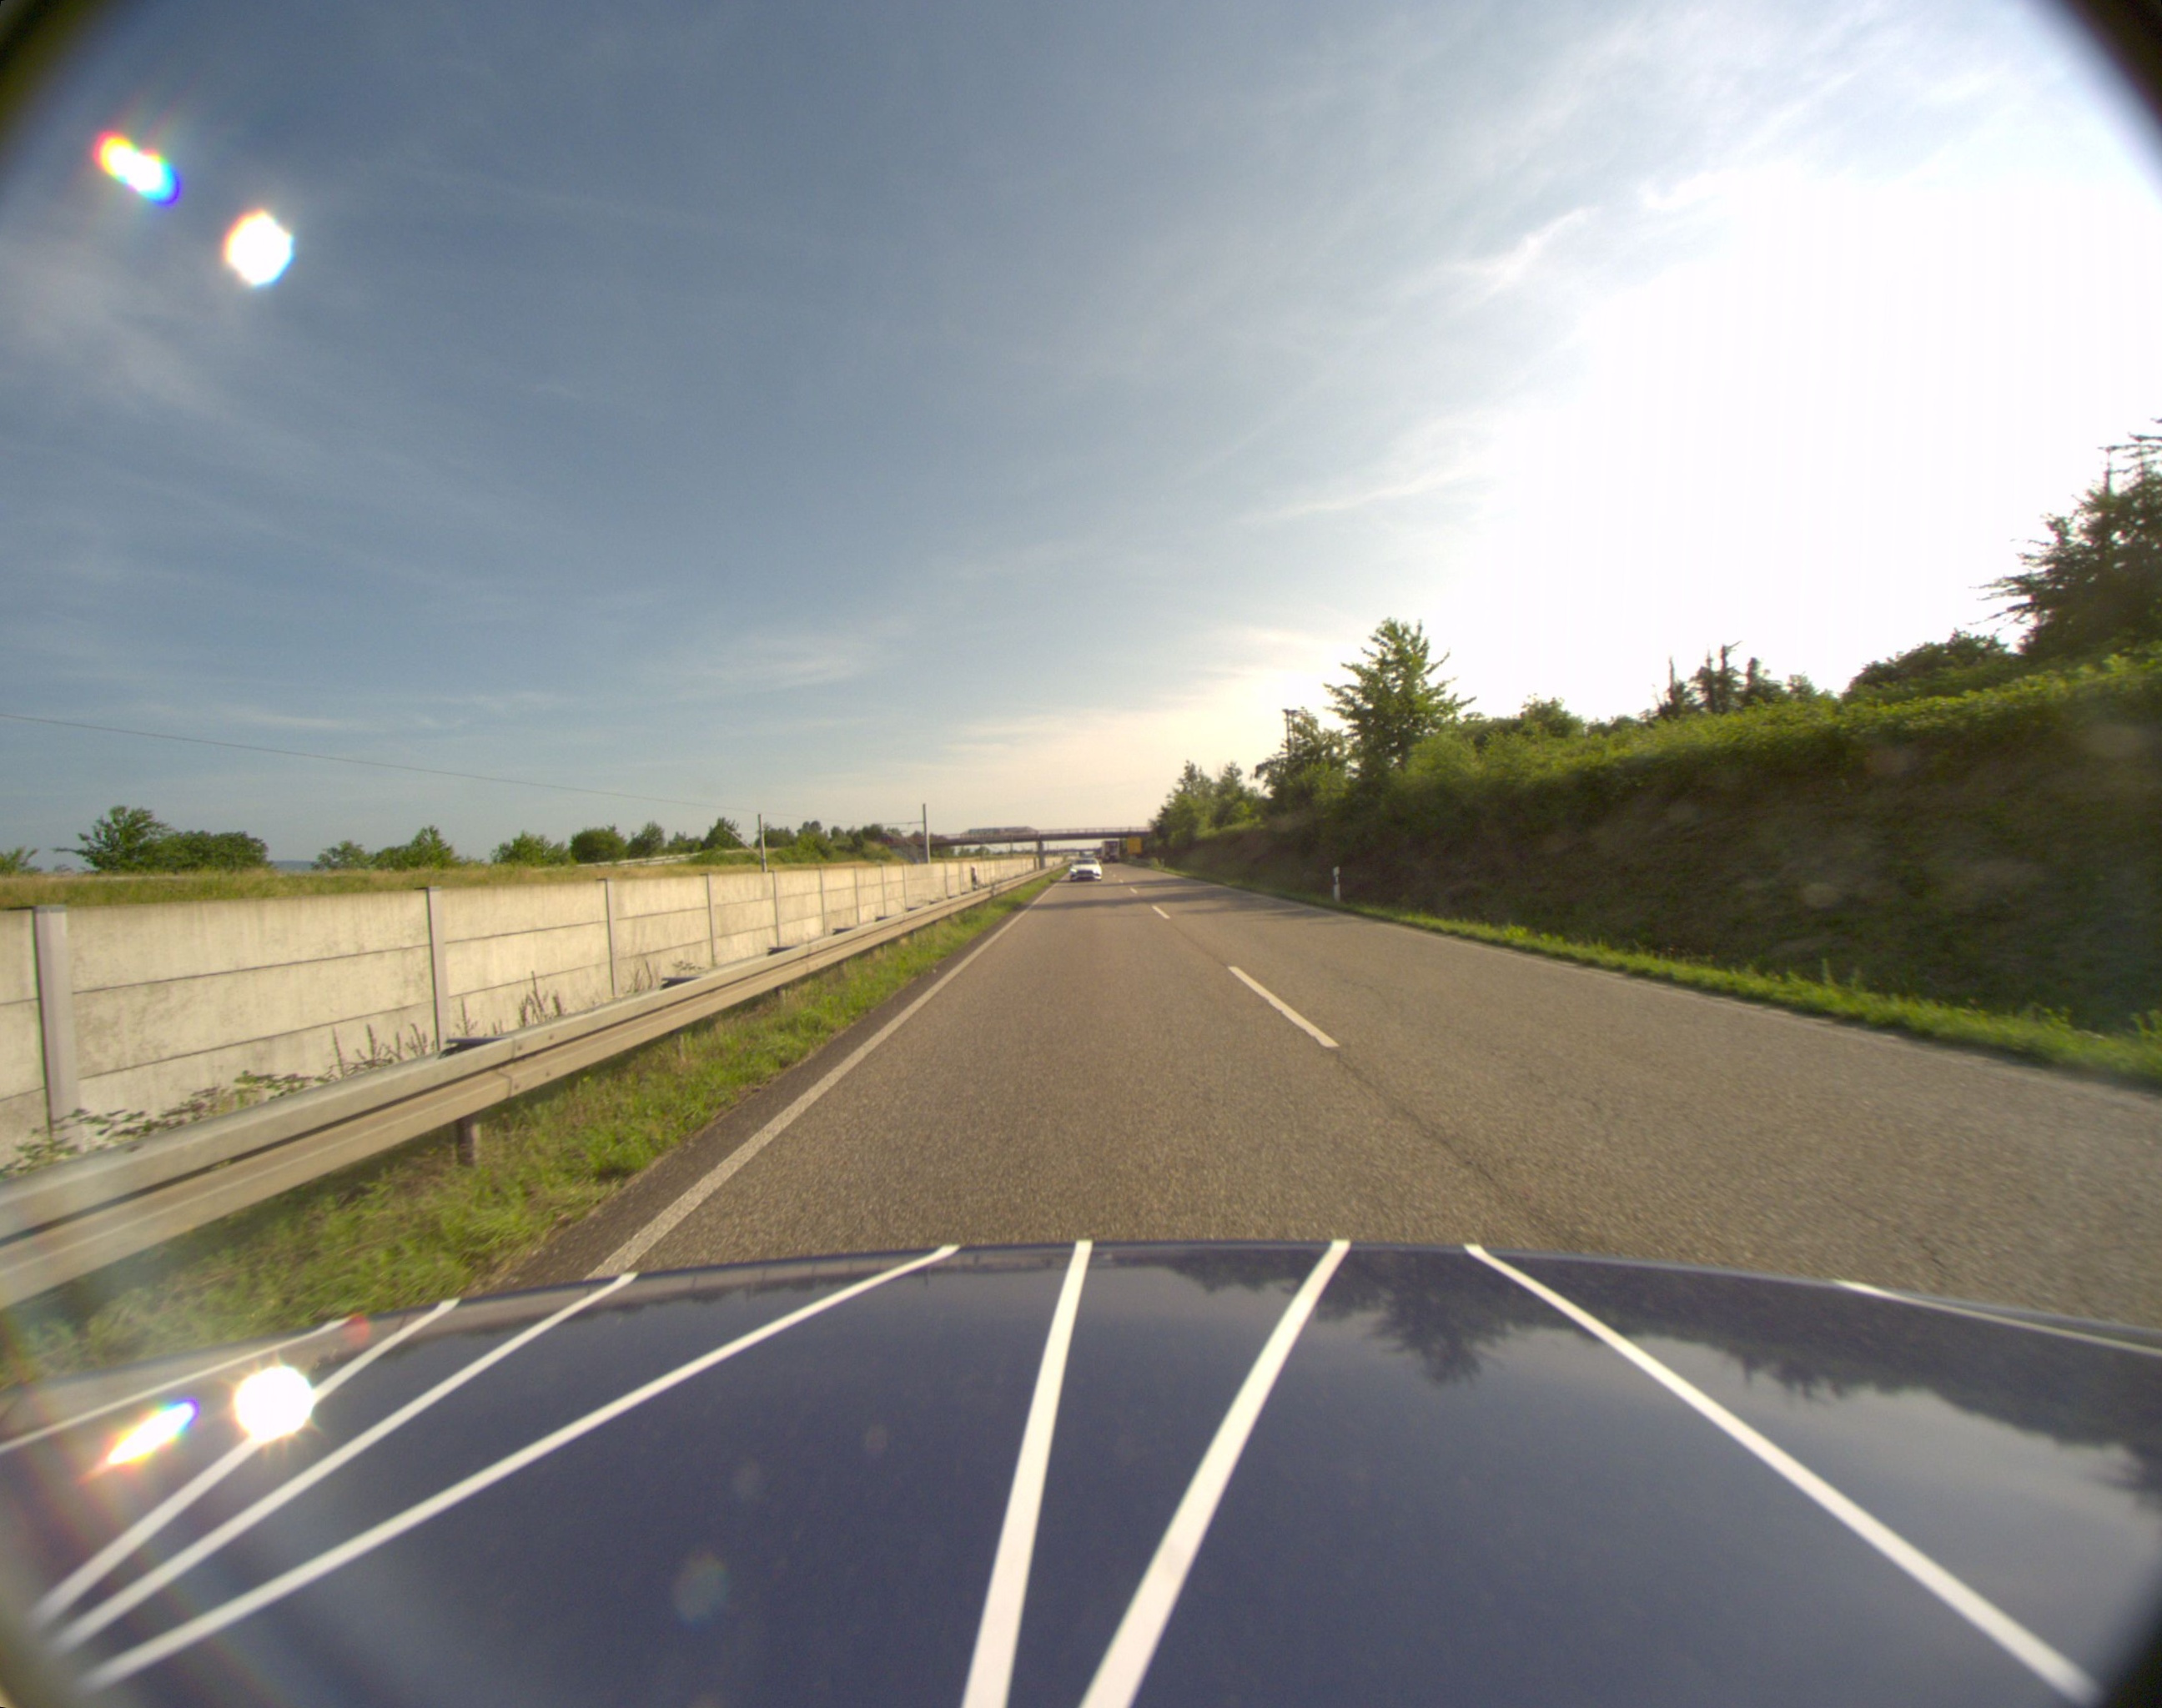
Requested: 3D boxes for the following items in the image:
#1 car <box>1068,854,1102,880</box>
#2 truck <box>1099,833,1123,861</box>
[{"bbox_3d":[0.287,0.751,46.624,1.952,1.430,4.611,-2,0,1],"label":"car"},{"bbox_3d":[5.282,-1.292,139.281,3.792,4.617,19.837,-2,0,1],"label":"truck"}]
